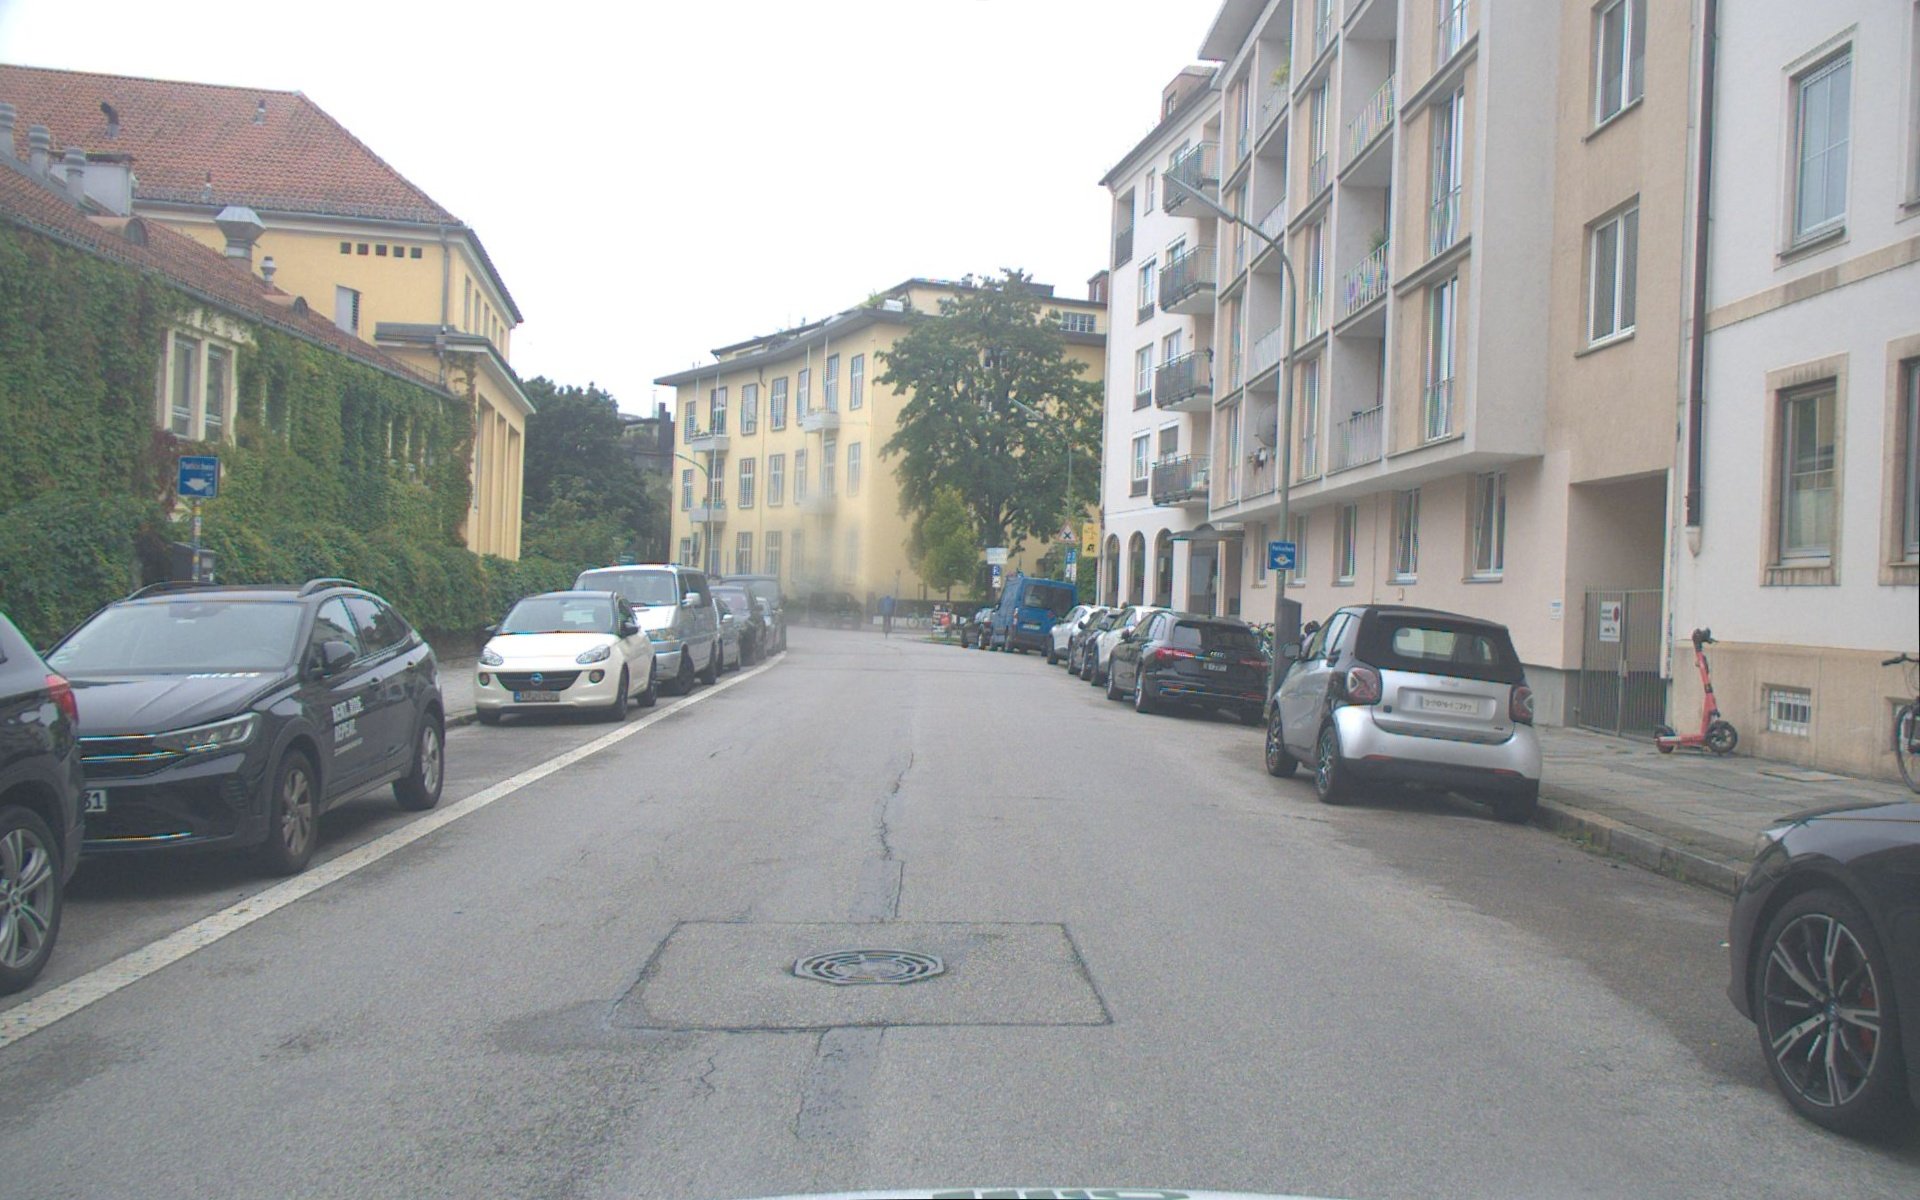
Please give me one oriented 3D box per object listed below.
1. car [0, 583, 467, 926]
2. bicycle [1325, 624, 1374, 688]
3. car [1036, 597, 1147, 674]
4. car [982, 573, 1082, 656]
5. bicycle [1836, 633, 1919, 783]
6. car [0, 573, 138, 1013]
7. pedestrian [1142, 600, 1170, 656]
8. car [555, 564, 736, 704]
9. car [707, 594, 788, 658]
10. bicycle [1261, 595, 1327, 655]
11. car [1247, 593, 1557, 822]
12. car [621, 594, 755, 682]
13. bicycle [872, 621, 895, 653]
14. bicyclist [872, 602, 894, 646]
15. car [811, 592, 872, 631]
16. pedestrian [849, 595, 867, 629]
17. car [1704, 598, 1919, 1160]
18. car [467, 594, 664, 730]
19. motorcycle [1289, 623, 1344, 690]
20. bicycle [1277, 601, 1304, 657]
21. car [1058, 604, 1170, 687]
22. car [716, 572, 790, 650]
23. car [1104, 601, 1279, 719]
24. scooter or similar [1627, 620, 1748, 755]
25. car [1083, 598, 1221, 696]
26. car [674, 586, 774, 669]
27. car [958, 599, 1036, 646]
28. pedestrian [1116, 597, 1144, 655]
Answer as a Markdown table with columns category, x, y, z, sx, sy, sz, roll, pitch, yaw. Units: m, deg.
| category | x | y | z | sx | sy | sz | roll | pitch | yaw |
| --- | --- | --- | --- | --- | --- | --- | --- | --- | --- |
| car | -4.253 | 0.697 | 9.625 | 1.683 | 1.507 | 4.217 | -3 | 1 | -4 |
| bicycle | 7.471 | 1.065 | 31.747 | 0.503 | 1.177 | 1.600 | 0 | 0 | -3 |
| car | 3.138 | 0.816 | 40.393 | 1.742 | 1.549 | 4.297 | 6 | 0 | -7 |
| car | 2.177 | 0.490 | 51.431 | 2.070 | 2.252 | 5.019 | 6 | -2 | -7 |
| bicycle | 7.719 | 0.849 | 13.018 | 0.617 | 1.111 | 1.836 | -1 | 0 | -2 |
| car | -4.174 | 0.699 | 4.597 | 1.734 | 1.529 | 4.272 | -1 | 1 | -2 |
| pedestrian | 5.696 | 0.808 | 48.116 | 0.697 | 1.633 | 0.699 | 0 | 0 | -4 |
| car | -4.659 | 0.437 | 25.216 | 1.855 | 1.829 | 4.879 | -3 | 1 | -1 |
| car | -5.217 | 0.613 | 41.061 | 1.673 | 1.389 | 3.999 | -3 | 1 | -3 |
| bicycle | 7.153 | 0.535 | 35.405 | 1.316 | 1.223 | 0.392 | -2 | -1 | -16 |
| car | 3.586 | 0.795 | 14.014 | 1.582 | 1.542 | 3.380 | 5 | 0 | -1 |
| car | -4.970 | 0.651 | 30.757 | 1.767 | 1.401 | 4.490 | -3 | 0 | -1 |
| bicycle | -3.250 | 1.557 | 70.638 | 0.902 | 1.274 | 2.321 | 1 | 0 | -2 |
| bicyclist | -3.270 | 1.018 | 70.601 | 0.895 | 1.795 | 1.215 | 1 | 0 | -2 |
| car | -6.317 | 0.603 | 87.977 | 1.848 | 1.920 | 4.586 | 1 | 0 | -23 |
| pedestrian | -5.431 | 0.613 | 88.057 | 0.832 | 1.788 | 0.952 | 1 | 0 | -8 |
| car | 3.537 | 0.803 | 3.212 | 1.836 | 1.473 | 4.698 | 3 | 0 | -3 |
| car | -4.657 | 0.673 | 19.989 | 1.633 | 1.434 | 3.557 | -1 | 1 | -3 |
| motorcycle | 7.308 | 1.137 | 33.979 | 0.623 | 1.293 | 2.040 | 0 | 0 | -3 |
| bicycle | 7.412 | 0.648 | 37.098 | 0.384 | 1.223 | 1.342 | -2 | -1 | 3 |
| car | 3.191 | 0.905 | 35.172 | 1.737 | 1.453 | 4.692 | 6 | 0 | -1 |
| car | -5.747 | 0.268 | 46.100 | 1.889 | 2.013 | 4.616 | -1 | 1 | -7 |
| car | 3.273 | 0.799 | 24.249 | 1.790 | 1.405 | 4.490 | 4 | 0 | -1 |
| scooter or similar | 7.415 | 0.876 | 16.906 | 0.714 | 1.297 | 1.095 | 1 | 0 | -2 |
| car | 3.381 | 0.790 | 29.836 | 1.669 | 1.493 | 4.117 | 6 | 0 | -3 |
| car | -5.049 | 0.549 | 35.839 | 1.668 | 1.634 | 4.489 | -2 | 0 | -3 |
| car | 1.251 | 0.742 | 57.308 | 1.685 | 1.419 | 3.987 | 5 | -1 | -13 |
| pedestrian | 4.949 | 0.759 | 48.117 | 0.665 | 1.657 | 0.828 | 0 | -1 | -6 |
